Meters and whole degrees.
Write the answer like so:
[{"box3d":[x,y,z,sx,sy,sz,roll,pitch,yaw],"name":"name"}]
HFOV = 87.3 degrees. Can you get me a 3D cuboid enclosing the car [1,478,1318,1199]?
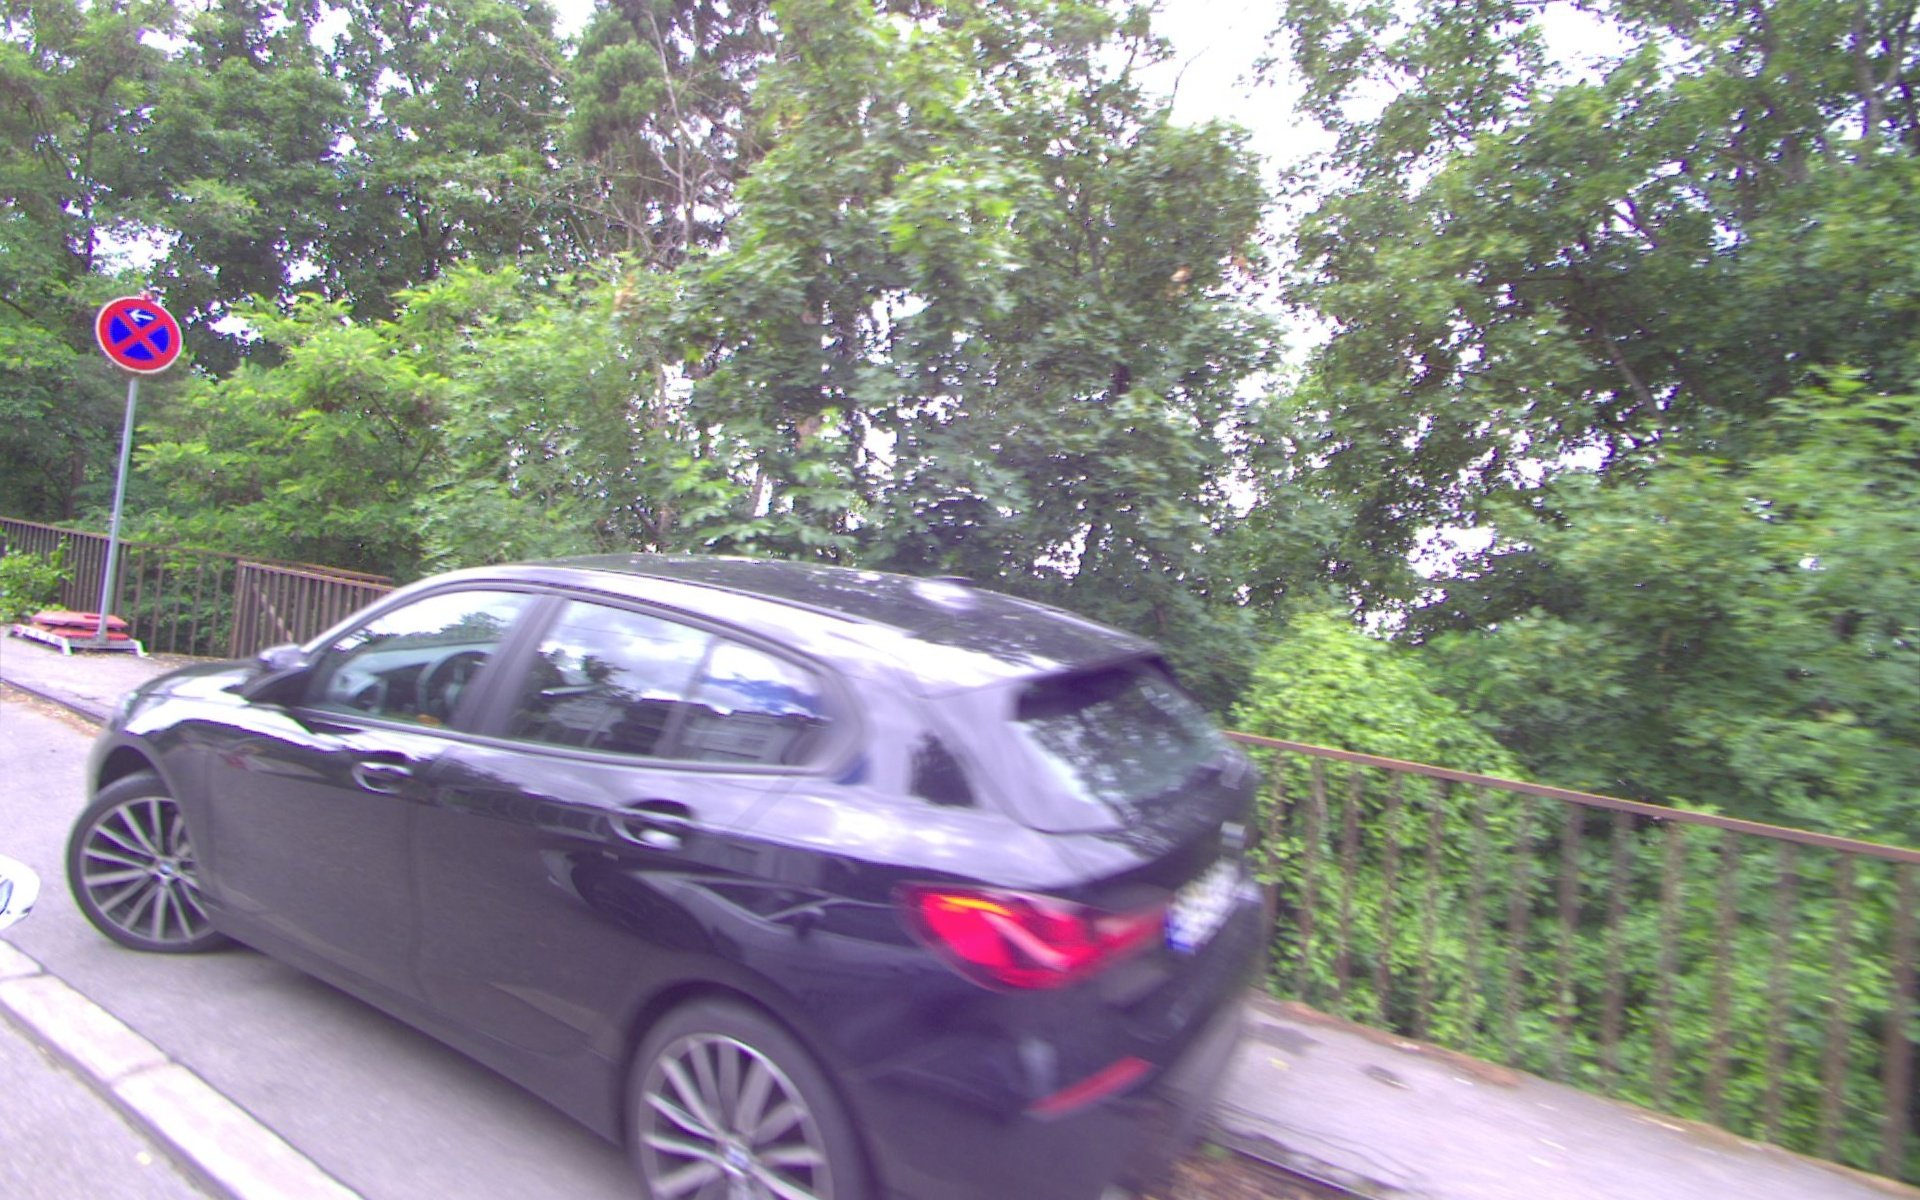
[{"box3d":[-1.185,0.518,3.360,4.122,1.484,1.807,7,5,29],"name":"car"}]
